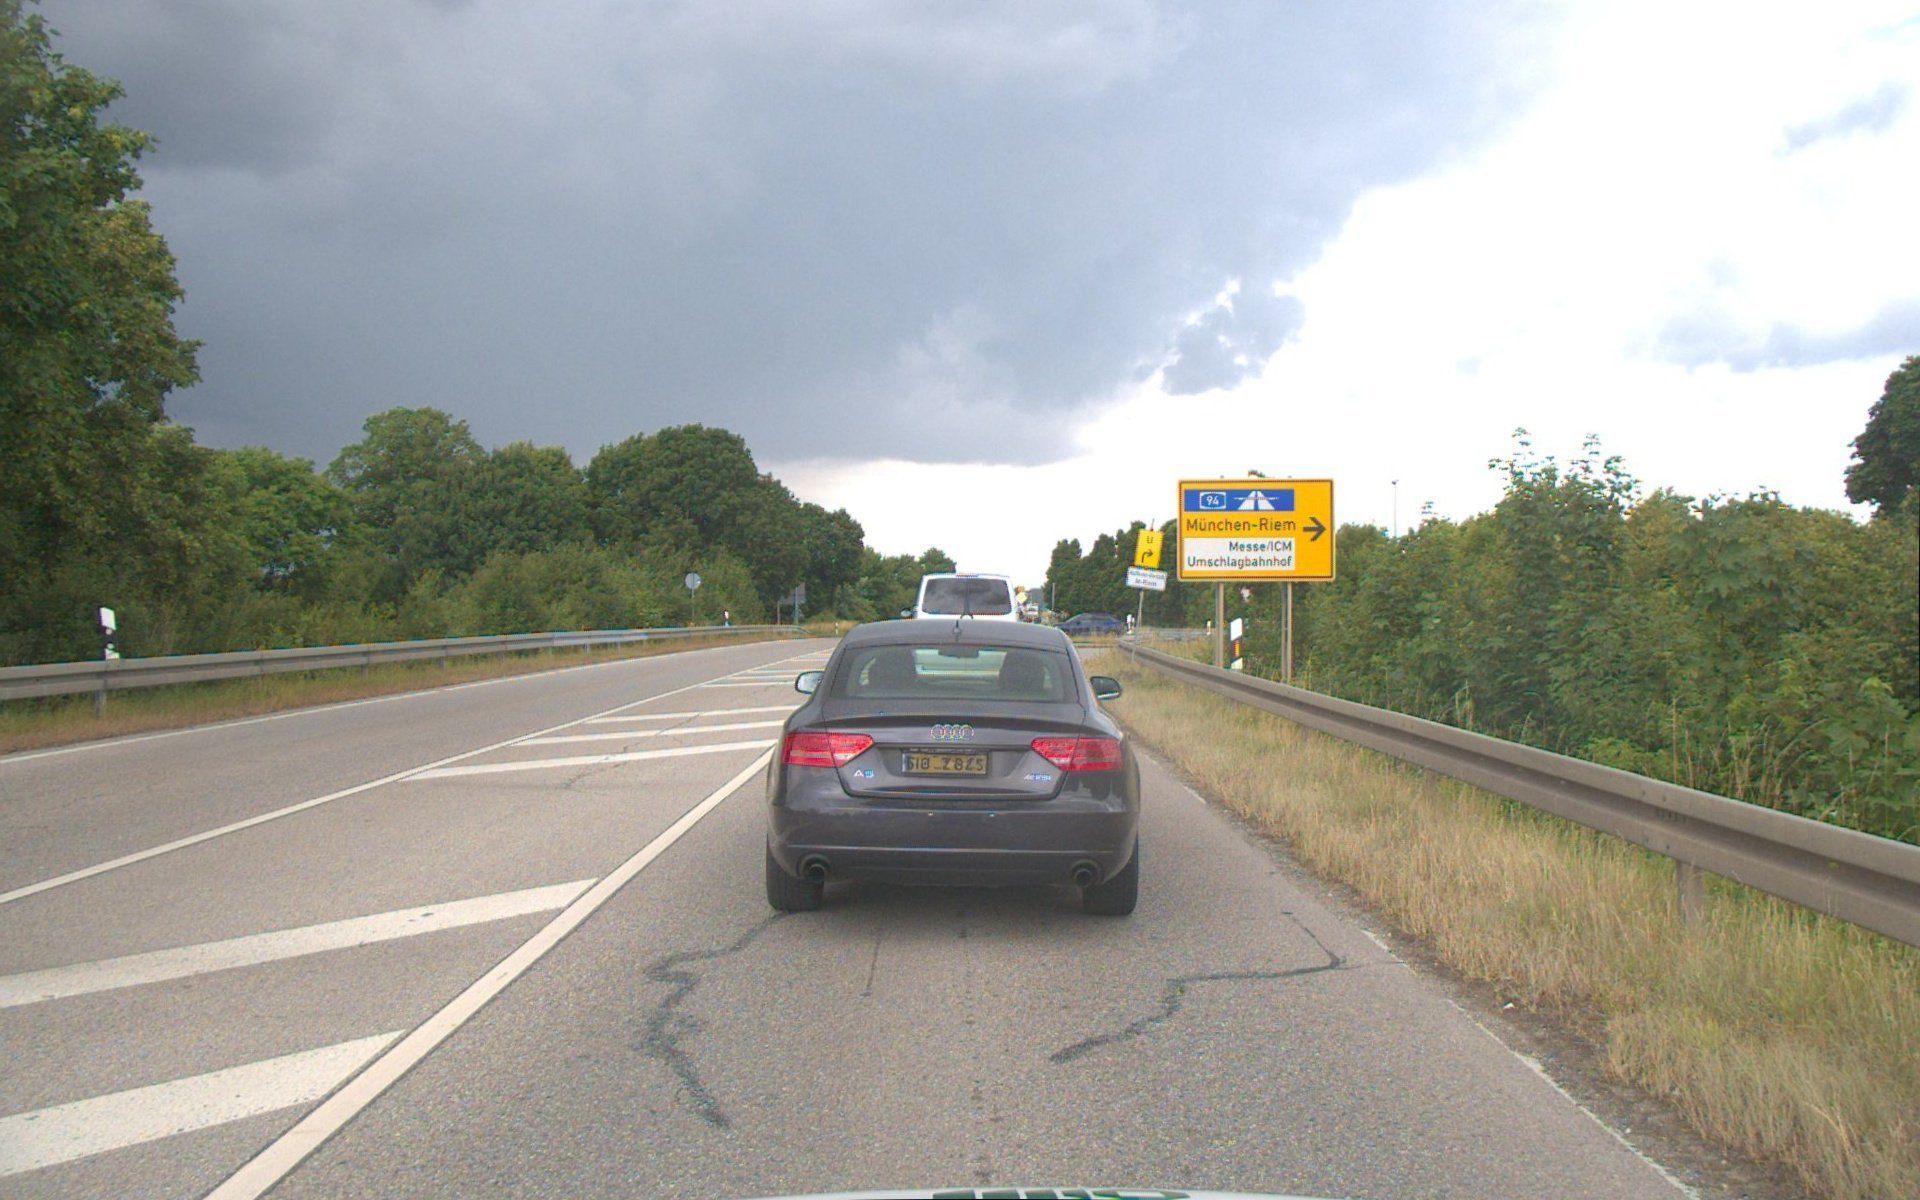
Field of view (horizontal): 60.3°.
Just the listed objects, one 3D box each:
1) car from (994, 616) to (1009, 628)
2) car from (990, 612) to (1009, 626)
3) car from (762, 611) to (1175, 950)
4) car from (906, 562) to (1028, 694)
[{"bbox_3d":[5.342,2.858,214.427,1.699,1.479,3.999,1,0,-1],"label":"car"},{"bbox_3d":[4.665,2.255,195.589,2.161,1.610,4.378,1,0,-1],"label":"car"},{"bbox_3d":[0.016,0.781,8.687,1.743,1.423,3.336,1,0,-1],"label":"car"},{"bbox_3d":[0.093,0.436,28.011,1.871,2.049,3.999,1,0,-1],"label":"car"}]
